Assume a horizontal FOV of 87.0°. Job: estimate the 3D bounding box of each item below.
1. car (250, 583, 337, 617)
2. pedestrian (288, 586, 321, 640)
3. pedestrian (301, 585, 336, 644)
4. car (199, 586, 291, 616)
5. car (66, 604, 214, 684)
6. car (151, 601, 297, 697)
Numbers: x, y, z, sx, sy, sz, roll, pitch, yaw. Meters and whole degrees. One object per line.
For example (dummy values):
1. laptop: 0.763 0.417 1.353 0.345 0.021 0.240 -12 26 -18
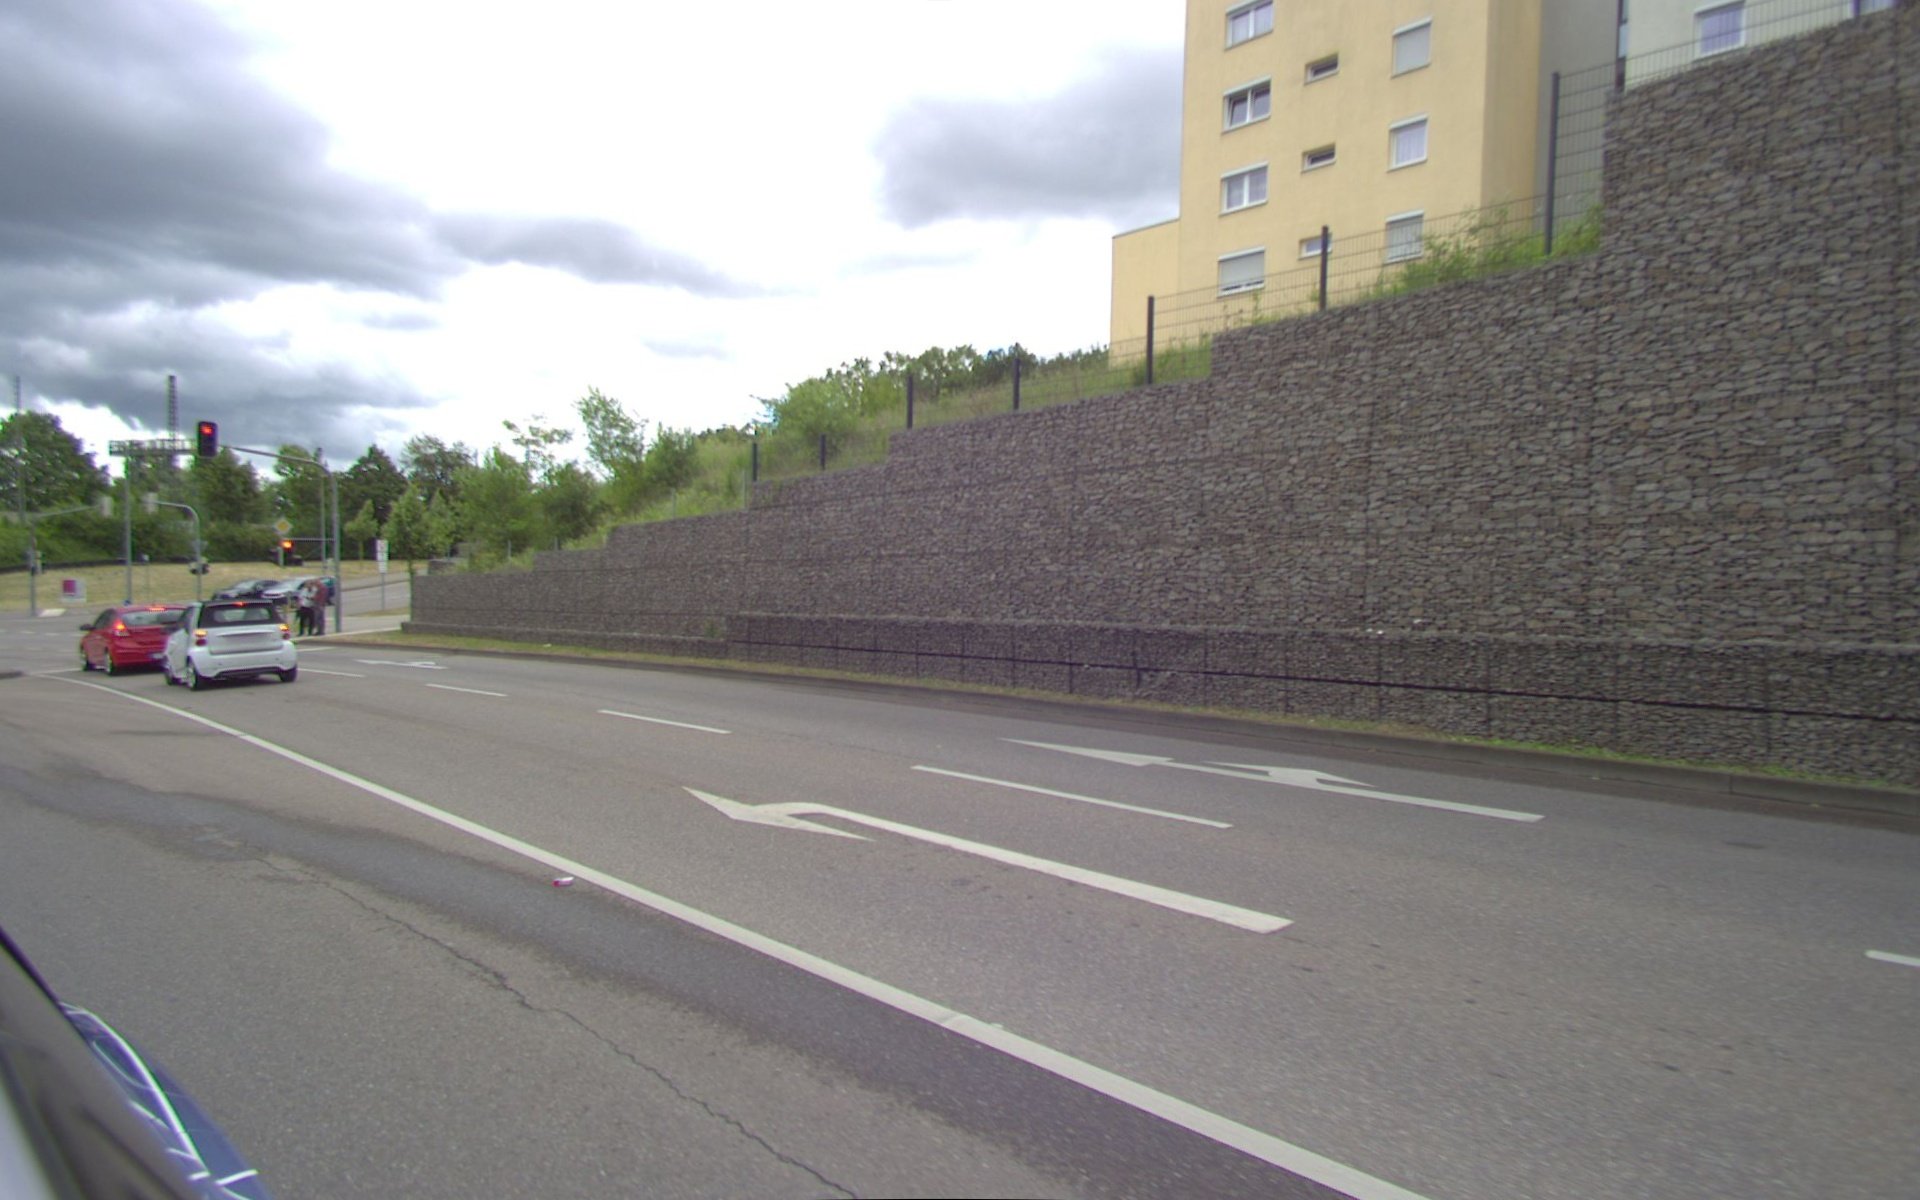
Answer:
1. car: -39.545 -0.026 60.134 1.742 1.741 4.246 -1 3 13
2. pedestrian: -21.148 0.411 32.651 0.655 1.691 0.625 -2 2 -11
3. pedestrian: -20.524 0.444 32.380 0.662 1.841 0.619 0 3 25
4. car: -43.439 0.024 61.605 2.088 1.562 4.249 -1 3 11
5. car: -18.419 0.931 22.671 4.089 1.534 1.737 -1 2 39
6. car: -13.571 0.843 18.631 2.913 1.534 1.527 -1 2 41
